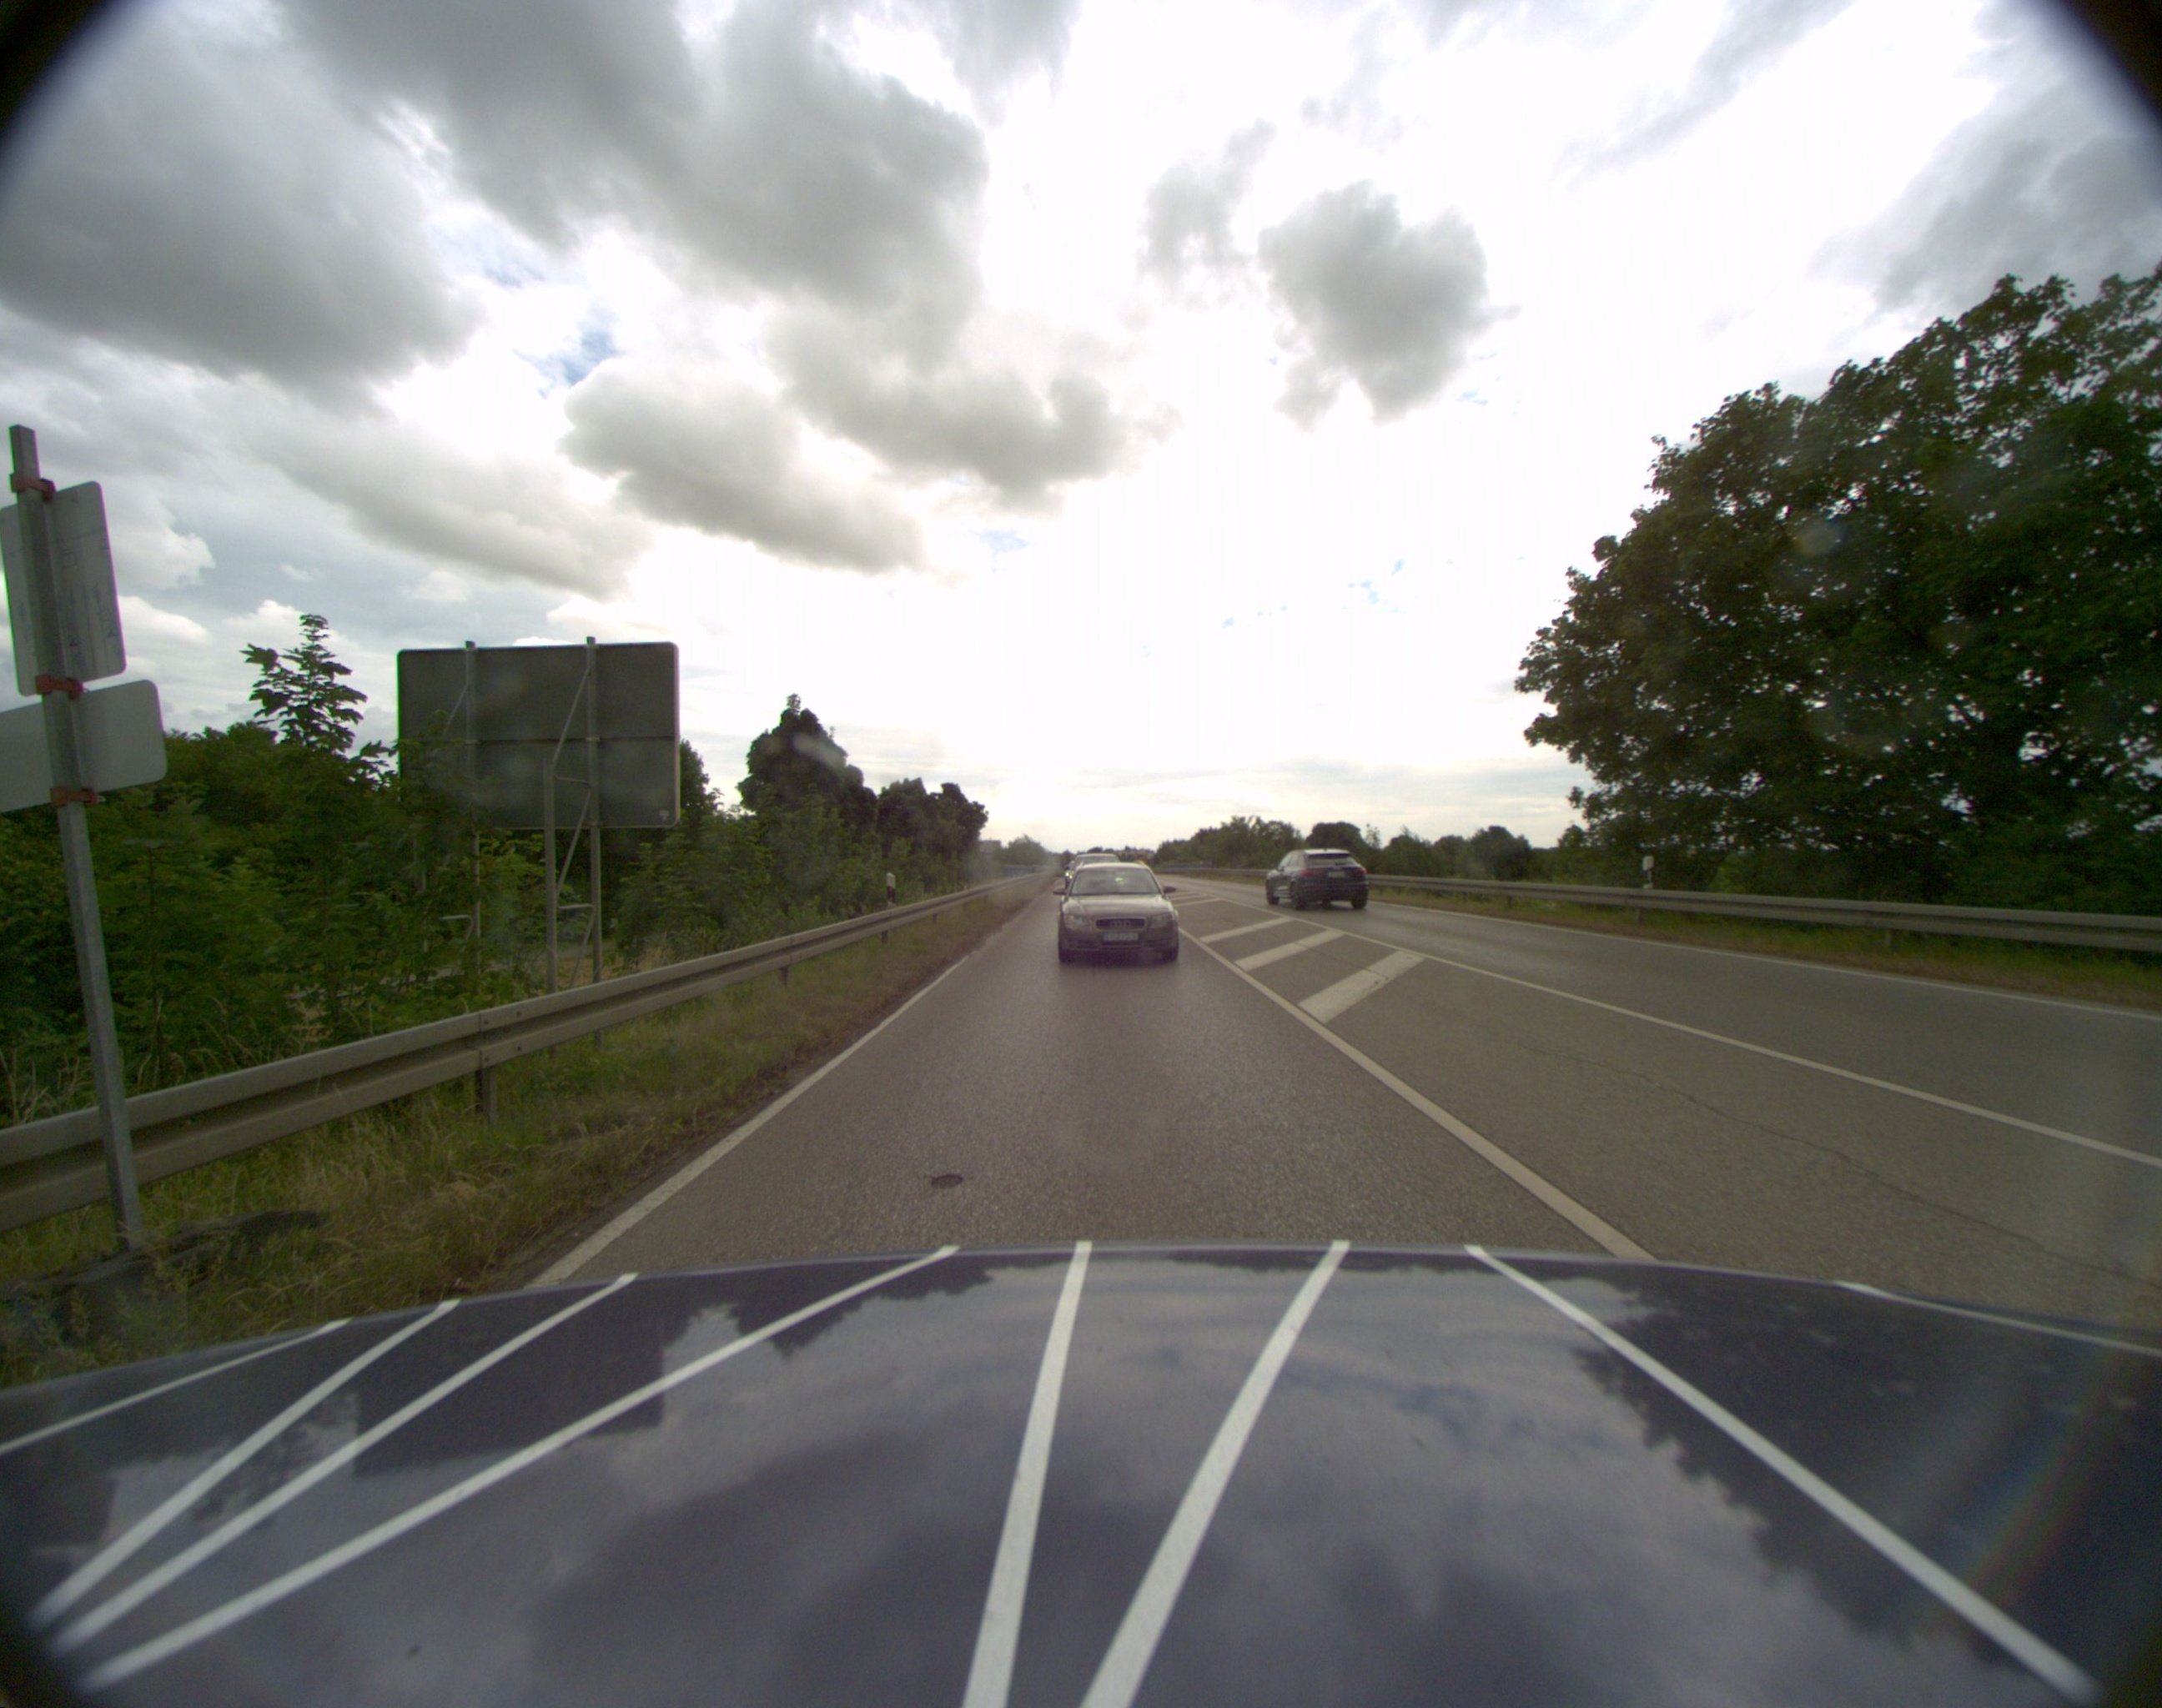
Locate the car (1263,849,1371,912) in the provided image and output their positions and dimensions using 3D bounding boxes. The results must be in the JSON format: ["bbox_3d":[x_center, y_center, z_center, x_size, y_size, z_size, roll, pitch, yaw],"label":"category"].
[{"bbox_3d":[6.392,0.665,21.045,1.714,1.509,4.209,-2,0,1],"label":"car"}]

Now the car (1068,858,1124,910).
[{"bbox_3d":[0.469,0.902,24.524,1.603,1.493,3.962,-2,0,1],"label":"car"}]

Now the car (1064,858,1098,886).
[{"bbox_3d":[0.009,0.917,40.198,1.670,1.339,4.000,-2,0,0],"label":"car"}]

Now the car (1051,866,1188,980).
[{"bbox_3d":[0.491,0.937,11.948,1.768,1.383,3.876,-2,0,0],"label":"car"}]
